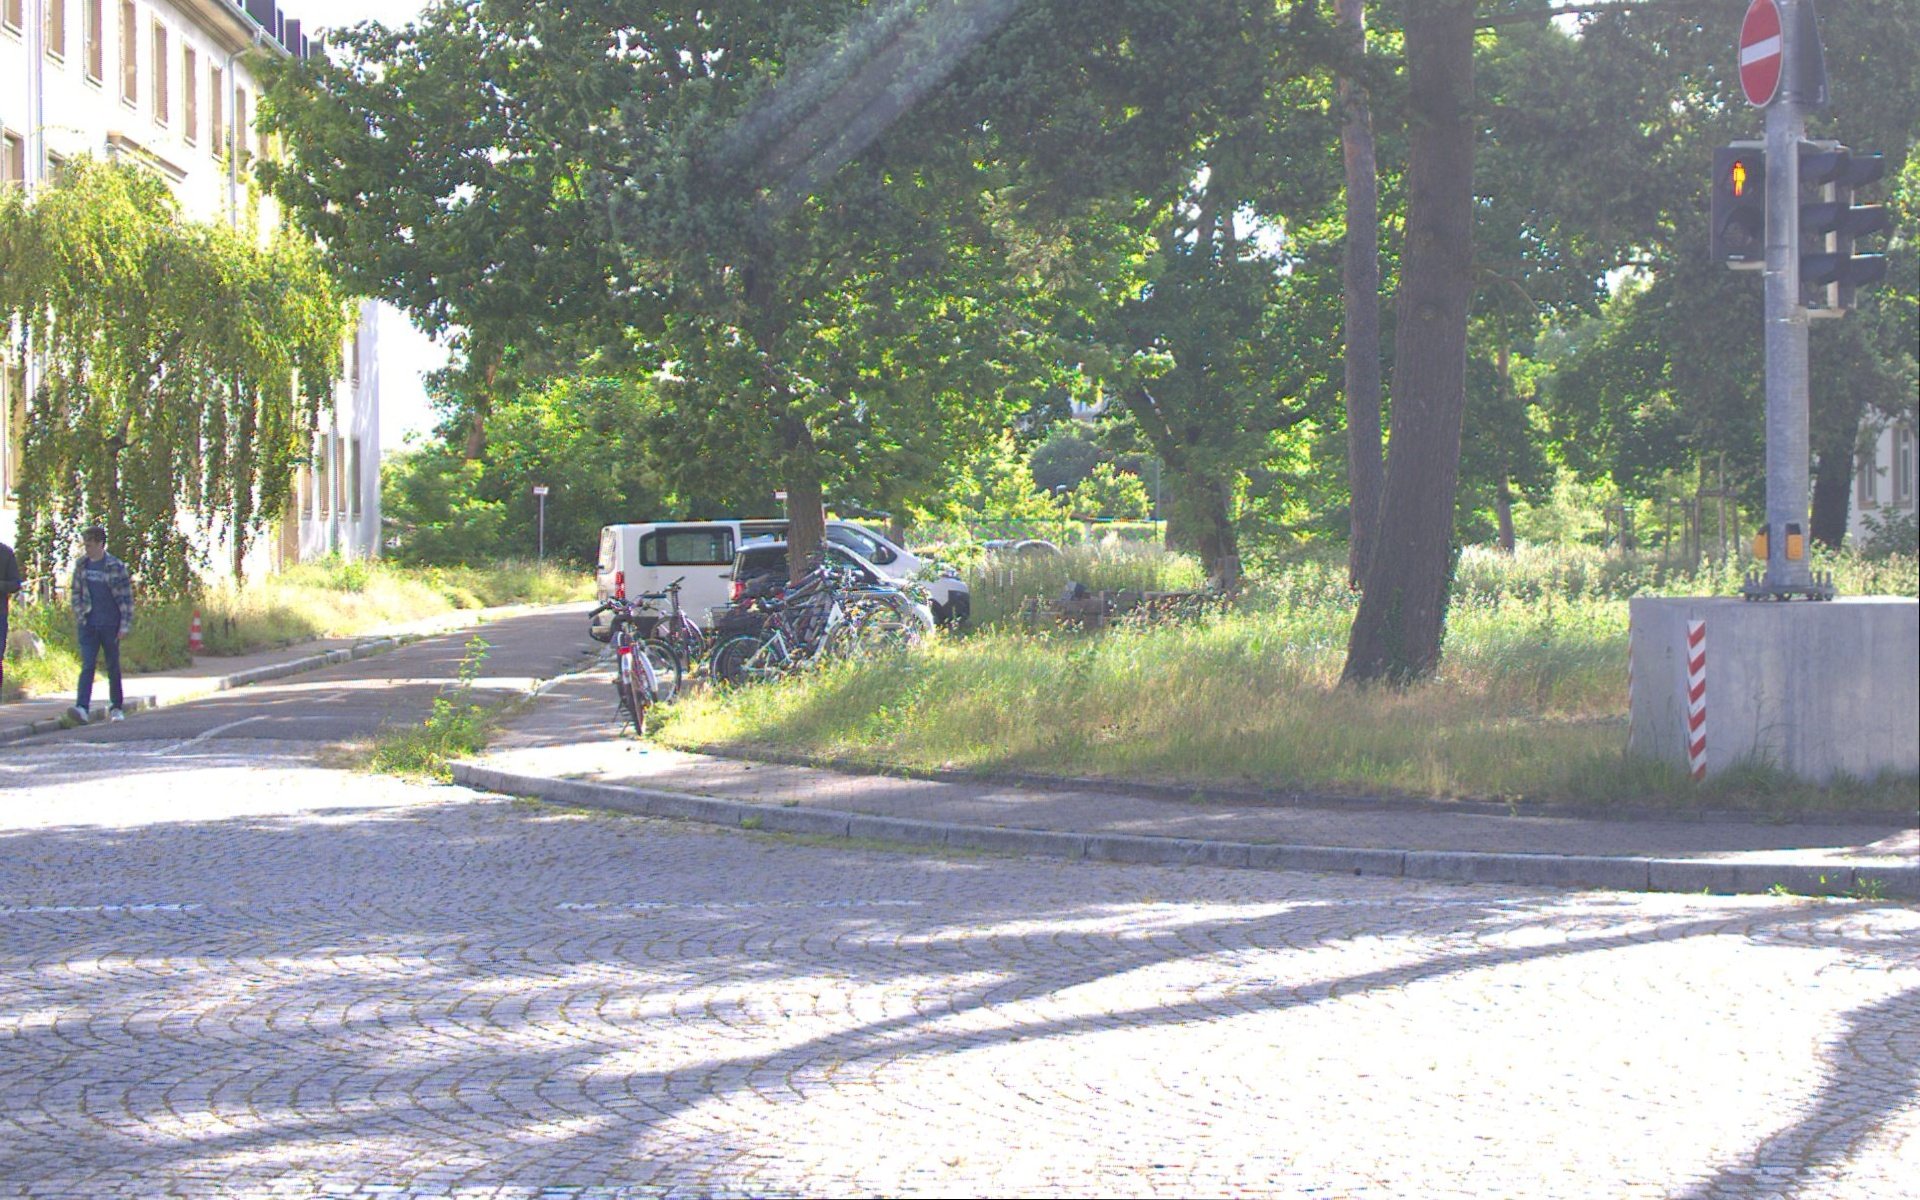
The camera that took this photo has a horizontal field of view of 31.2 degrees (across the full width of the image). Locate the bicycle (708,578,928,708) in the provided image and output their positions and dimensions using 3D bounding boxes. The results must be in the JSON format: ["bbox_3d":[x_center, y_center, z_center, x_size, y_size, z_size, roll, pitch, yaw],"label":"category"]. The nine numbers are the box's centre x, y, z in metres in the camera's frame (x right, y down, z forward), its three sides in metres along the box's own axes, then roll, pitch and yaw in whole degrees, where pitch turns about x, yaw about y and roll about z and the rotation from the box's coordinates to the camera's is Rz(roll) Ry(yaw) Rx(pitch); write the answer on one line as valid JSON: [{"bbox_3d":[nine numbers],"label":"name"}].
[{"bbox_3d":[-1.293,0.380,31.048,1.940,1.125,0.750,-1,1,-5],"label":"bicycle"}]

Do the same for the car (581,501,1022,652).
[{"bbox_3d":[-2.277,-0.351,48.300,5.929,2.007,2.476,-1,1,-9],"label":"car"}]

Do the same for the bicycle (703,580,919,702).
[{"bbox_3d":[-1.318,0.352,30.246,1.854,1.027,0.750,-1,1,-5],"label":"bicycle"}]

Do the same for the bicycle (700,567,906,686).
[{"bbox_3d":[-1.524,0.249,33.350,1.940,1.125,0.648,-1,1,-7],"label":"bicycle"}]

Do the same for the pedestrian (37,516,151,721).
[{"bbox_3d":[-7.742,0.161,30.752,0.767,1.811,0.682,0,1,9],"label":"pedestrian"}]

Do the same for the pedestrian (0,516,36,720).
[{"bbox_3d":[-8.792,0.155,30.825,0.812,1.811,0.555,0,1,9],"label":"pedestrian"}]

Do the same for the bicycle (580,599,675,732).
[{"bbox_3d":[-2.570,0.490,26.722,0.695,0.968,1.861,0,1,-4],"label":"bicycle"}]

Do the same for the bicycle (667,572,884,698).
[{"bbox_3d":[-1.723,0.315,32.243,1.940,1.125,0.648,-1,1,-29],"label":"bicycle"}]

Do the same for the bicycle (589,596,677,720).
[{"bbox_3d":[-2.714,0.466,28.667,0.695,0.968,1.861,0,1,-4],"label":"bicycle"}]

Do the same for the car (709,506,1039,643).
[{"bbox_3d":[-1.130,-0.338,44.003,3.986,1.678,1.848,-1,1,-10],"label":"car"}]

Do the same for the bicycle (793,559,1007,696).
[{"bbox_3d":[-0.557,0.250,31.765,1.940,1.231,0.485,-1,1,-5],"label":"bicycle"}]
